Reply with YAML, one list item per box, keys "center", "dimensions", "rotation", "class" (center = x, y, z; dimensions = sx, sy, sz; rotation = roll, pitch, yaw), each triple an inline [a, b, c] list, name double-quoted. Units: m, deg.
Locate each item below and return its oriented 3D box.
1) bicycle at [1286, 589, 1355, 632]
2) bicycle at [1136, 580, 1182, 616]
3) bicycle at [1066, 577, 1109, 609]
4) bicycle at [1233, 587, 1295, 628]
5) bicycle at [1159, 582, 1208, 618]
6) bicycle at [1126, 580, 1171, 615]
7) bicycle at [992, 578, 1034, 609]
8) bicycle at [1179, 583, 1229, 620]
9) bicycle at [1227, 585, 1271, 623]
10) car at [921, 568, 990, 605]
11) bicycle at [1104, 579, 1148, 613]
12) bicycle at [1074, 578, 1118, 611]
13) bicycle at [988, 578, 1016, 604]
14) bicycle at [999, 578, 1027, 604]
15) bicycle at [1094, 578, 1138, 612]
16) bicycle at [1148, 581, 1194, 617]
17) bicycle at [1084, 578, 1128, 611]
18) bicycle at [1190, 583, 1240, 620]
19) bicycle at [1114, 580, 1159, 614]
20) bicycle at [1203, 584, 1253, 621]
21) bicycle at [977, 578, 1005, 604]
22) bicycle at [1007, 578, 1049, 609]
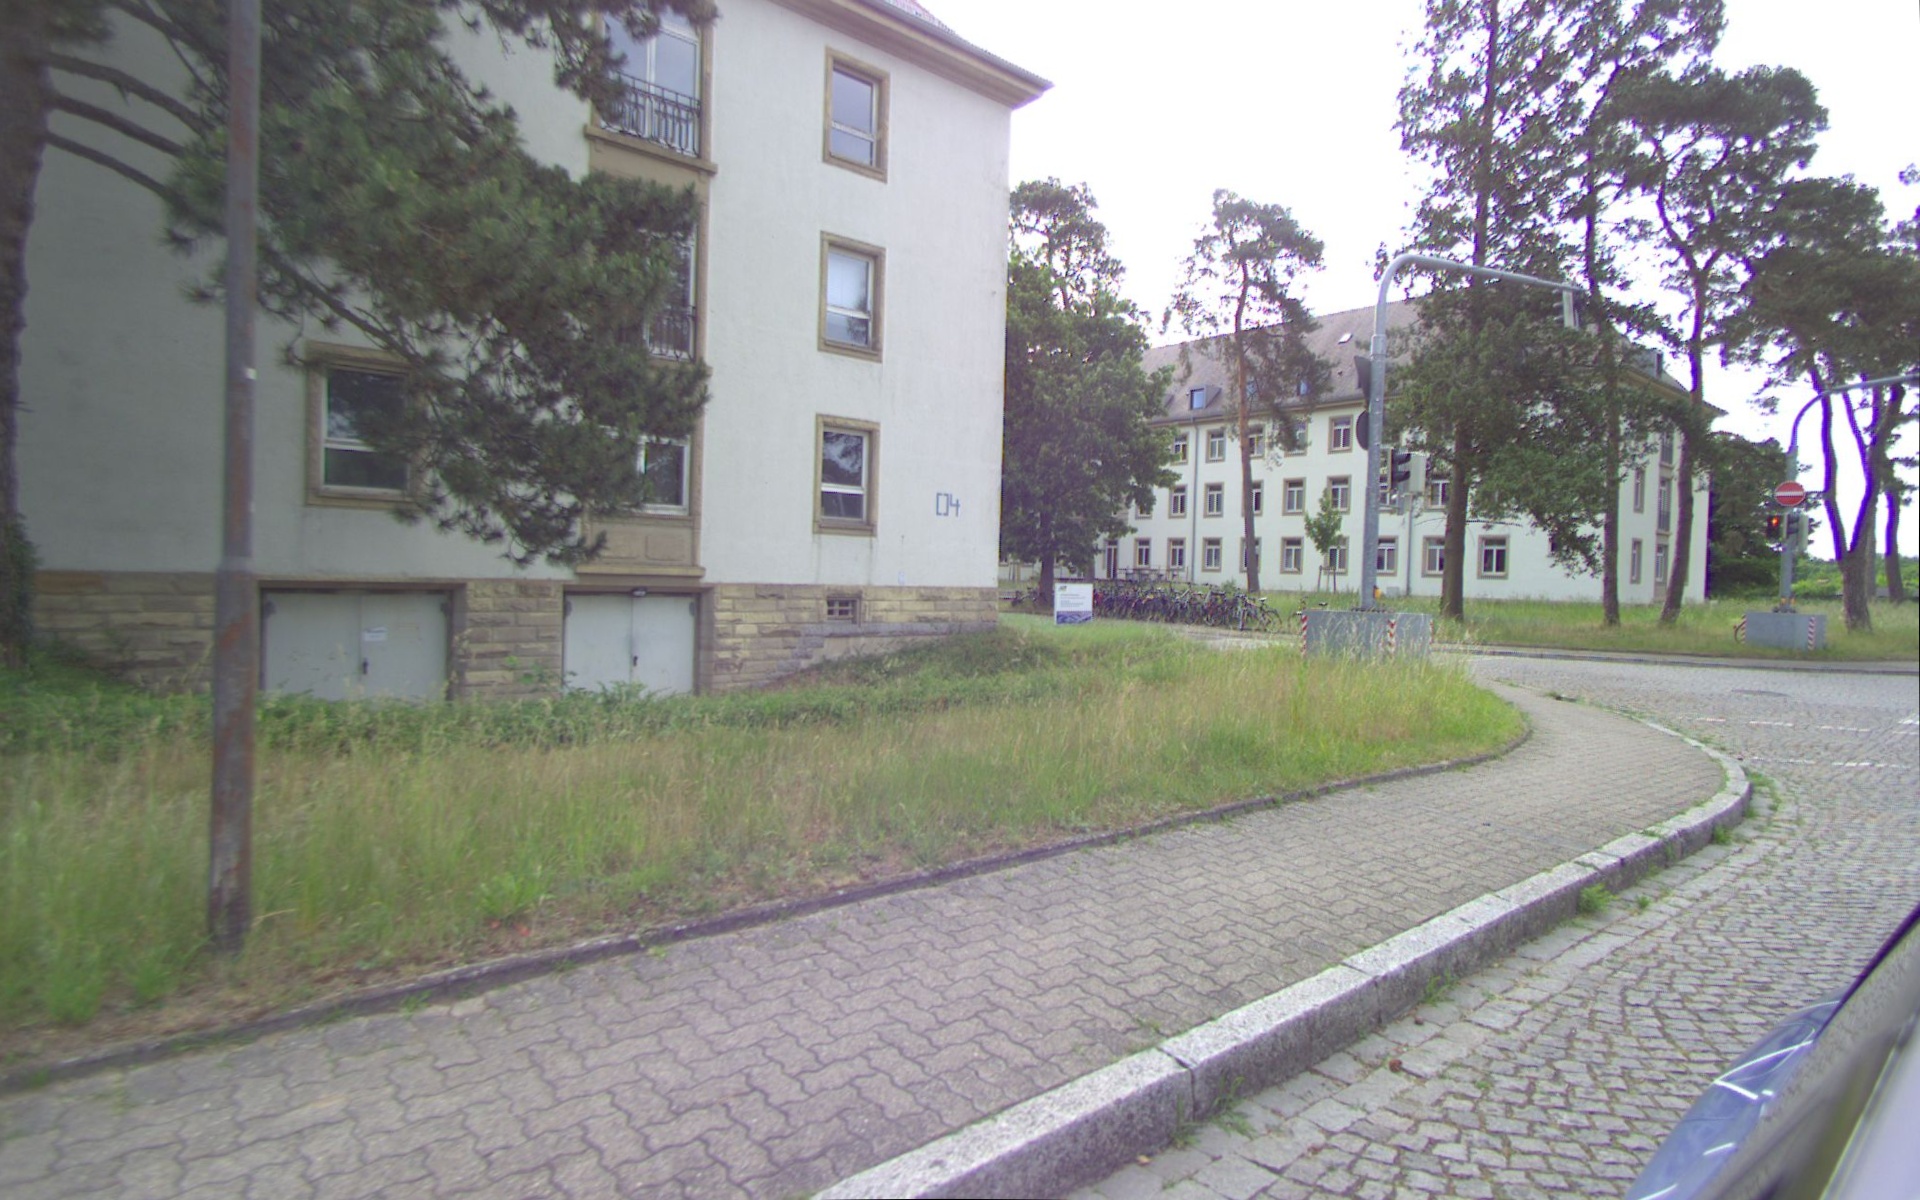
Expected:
- center: [9.873, 0.267, 27.746]
  dimensions: [0.604, 1.099, 1.654]
  rotation: [0, 2, -43]
  class: "bicycle"
- center: [6.652, -0.066, 33.811]
  dimensions: [1.699, 1.141, 0.448]
  rotation: [0, 1, -37]
  class: "bicycle"
- center: [4.597, -0.247, 36.510]
  dimensions: [1.699, 1.141, 0.448]
  rotation: [0, 1, -37]
  class: "bicycle"
- center: [8.692, 0.191, 28.970]
  dimensions: [0.603, 1.099, 1.656]
  rotation: [1, 2, -37]
  class: "bicycle"
- center: [7.272, 0.001, 32.949]
  dimensions: [1.697, 1.141, 0.448]
  rotation: [1, 1, -32]
  class: "bicycle"
- center: [6.370, -0.092, 34.203]
  dimensions: [1.699, 1.141, 0.448]
  rotation: [0, 1, -37]
  class: "bicycle"
- center: [2.030, -0.253, 38.567]
  dimensions: [1.699, 1.141, 0.448]
  rotation: [0, 1, -37]
  class: "bicycle"
- center: [7.809, 0.046, 32.367]
  dimensions: [1.697, 1.141, 0.448]
  rotation: [1, 1, -32]
  class: "bicycle"
- center: [8.924, 0.119, 31.225]
  dimensions: [1.628, 1.141, 0.476]
  rotation: [0, 2, -41]
  class: "bicycle"
- center: [-0.177, -0.584, 42.566]
  dimensions: [2.614, 1.488, 1.344]
  rotation: [0, 2, -41]
  class: "car"
- center: [5.755, -0.125, 35.026]
  dimensions: [1.699, 1.141, 0.448]
  rotation: [0, 1, -37]
  class: "bicycle"
- center: [4.870, -0.203, 36.169]
  dimensions: [1.699, 1.141, 0.448]
  rotation: [0, 1, -37]
  class: "bicycle"
- center: [1.919, -0.410, 46.059]
  dimensions: [0.475, 1.141, 1.580]
  rotation: [2, 2, 34]
  class: "bicycle"
- center: [2.400, -0.412, 45.711]
  dimensions: [0.475, 1.141, 1.580]
  rotation: [2, 2, 34]
  class: "bicycle"
- center: [5.476, -0.169, 35.419]
  dimensions: [1.699, 1.141, 0.448]
  rotation: [0, 1, -37]
  class: "bicycle"
- center: [6.958, -0.035, 33.402]
  dimensions: [1.698, 1.141, 0.448]
  rotation: [0, 1, -37]
  class: "bicycle"
- center: [5.180, -0.199, 35.774]
  dimensions: [1.699, 1.141, 0.448]
  rotation: [0, 1, -37]
  class: "bicycle"
- center: [8.062, 0.051, 31.956]
  dimensions: [1.668, 1.141, 0.448]
  rotation: [1, 1, -32]
  class: "bicycle"
- center: [6.033, -0.095, 34.625]
  dimensions: [1.699, 1.141, 0.448]
  rotation: [0, 1, -37]
  class: "bicycle"
- center: [8.356, 0.081, 31.559]
  dimensions: [1.669, 1.141, 0.477]
  rotation: [1, 1, -32]
  class: "bicycle"
- center: [1.437, -0.414, 46.385]
  dimensions: [0.475, 1.141, 1.580]
  rotation: [2, 2, 34]
  class: "bicycle"
- center: [2.568, -0.251, 38.229]
  dimensions: [1.699, 1.141, 0.448]
  rotation: [0, 1, -37]
  class: "bicycle"
